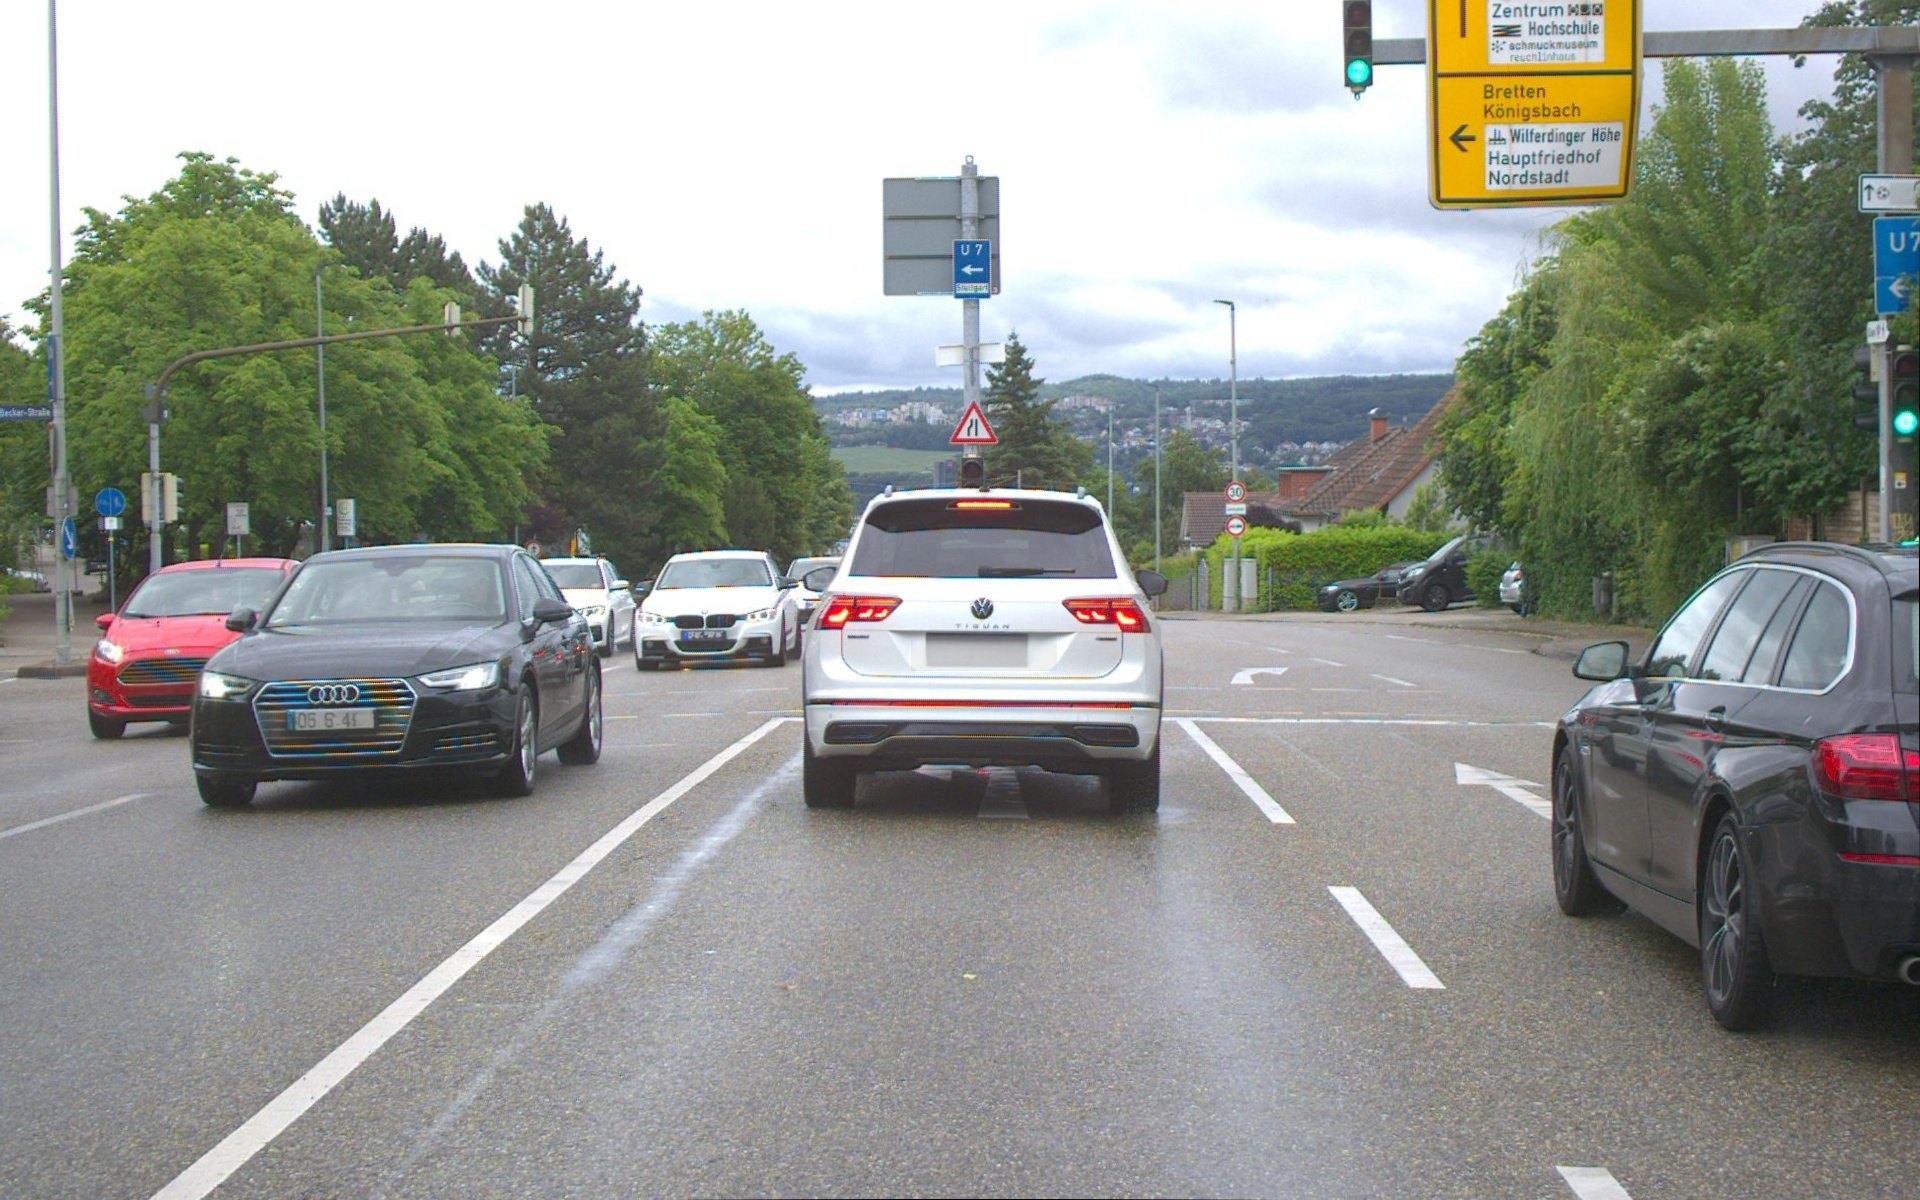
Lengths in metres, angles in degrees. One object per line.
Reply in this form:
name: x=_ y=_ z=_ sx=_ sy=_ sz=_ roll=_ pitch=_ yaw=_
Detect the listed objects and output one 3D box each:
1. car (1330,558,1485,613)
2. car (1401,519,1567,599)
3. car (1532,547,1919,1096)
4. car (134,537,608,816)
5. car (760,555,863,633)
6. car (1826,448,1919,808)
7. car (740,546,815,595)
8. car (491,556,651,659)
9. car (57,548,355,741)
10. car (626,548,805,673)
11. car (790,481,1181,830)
car: x=11.885 y=-0.396 z=91.393 sx=3.987 sy=1.372 sz=1.585 roll=1 pitch=1 yaw=5
car: x=13.173 y=-1.041 z=86.543 sx=3.987 sy=1.949 sz=1.585 roll=1 pitch=1 yaw=5
car: x=3.100 y=0.553 z=11.045 sx=1.899 sy=1.436 sz=4.000 roll=0 pitch=1 yaw=1
car: x=-3.292 y=0.362 z=20.061 sx=1.893 sy=1.399 sz=4.264 roll=-1 pitch=1 yaw=2
car: x=-2.931 y=-0.150 z=68.825 sx=1.775 sy=1.453 sz=4.549 roll=-1 pitch=1 yaw=1
car: x=5.995 y=0.167 z=18.398 sx=1.764 sy=1.870 sz=3.806 roll=1 pitch=4 yaw=1
car: x=-4.917 y=-0.801 z=92.837 sx=1.650 sy=1.269 sz=3.621 roll=0 pitch=1 yaw=3
car: x=-5.666 y=0.073 z=50.499 sx=1.774 sy=1.380 sz=4.549 roll=-1 pitch=1 yaw=1
car: x=-6.318 y=0.325 z=29.168 sx=1.632 sy=1.451 sz=3.702 roll=-2 pitch=1 yaw=0
car: x=-2.982 y=0.093 z=42.742 sx=1.749 sy=1.380 sz=4.411 roll=-2 pitch=1 yaw=2
car: x=0.145 y=0.214 z=18.578 sx=1.868 sy=1.668 sz=4.000 roll=1 pitch=1 yaw=1
